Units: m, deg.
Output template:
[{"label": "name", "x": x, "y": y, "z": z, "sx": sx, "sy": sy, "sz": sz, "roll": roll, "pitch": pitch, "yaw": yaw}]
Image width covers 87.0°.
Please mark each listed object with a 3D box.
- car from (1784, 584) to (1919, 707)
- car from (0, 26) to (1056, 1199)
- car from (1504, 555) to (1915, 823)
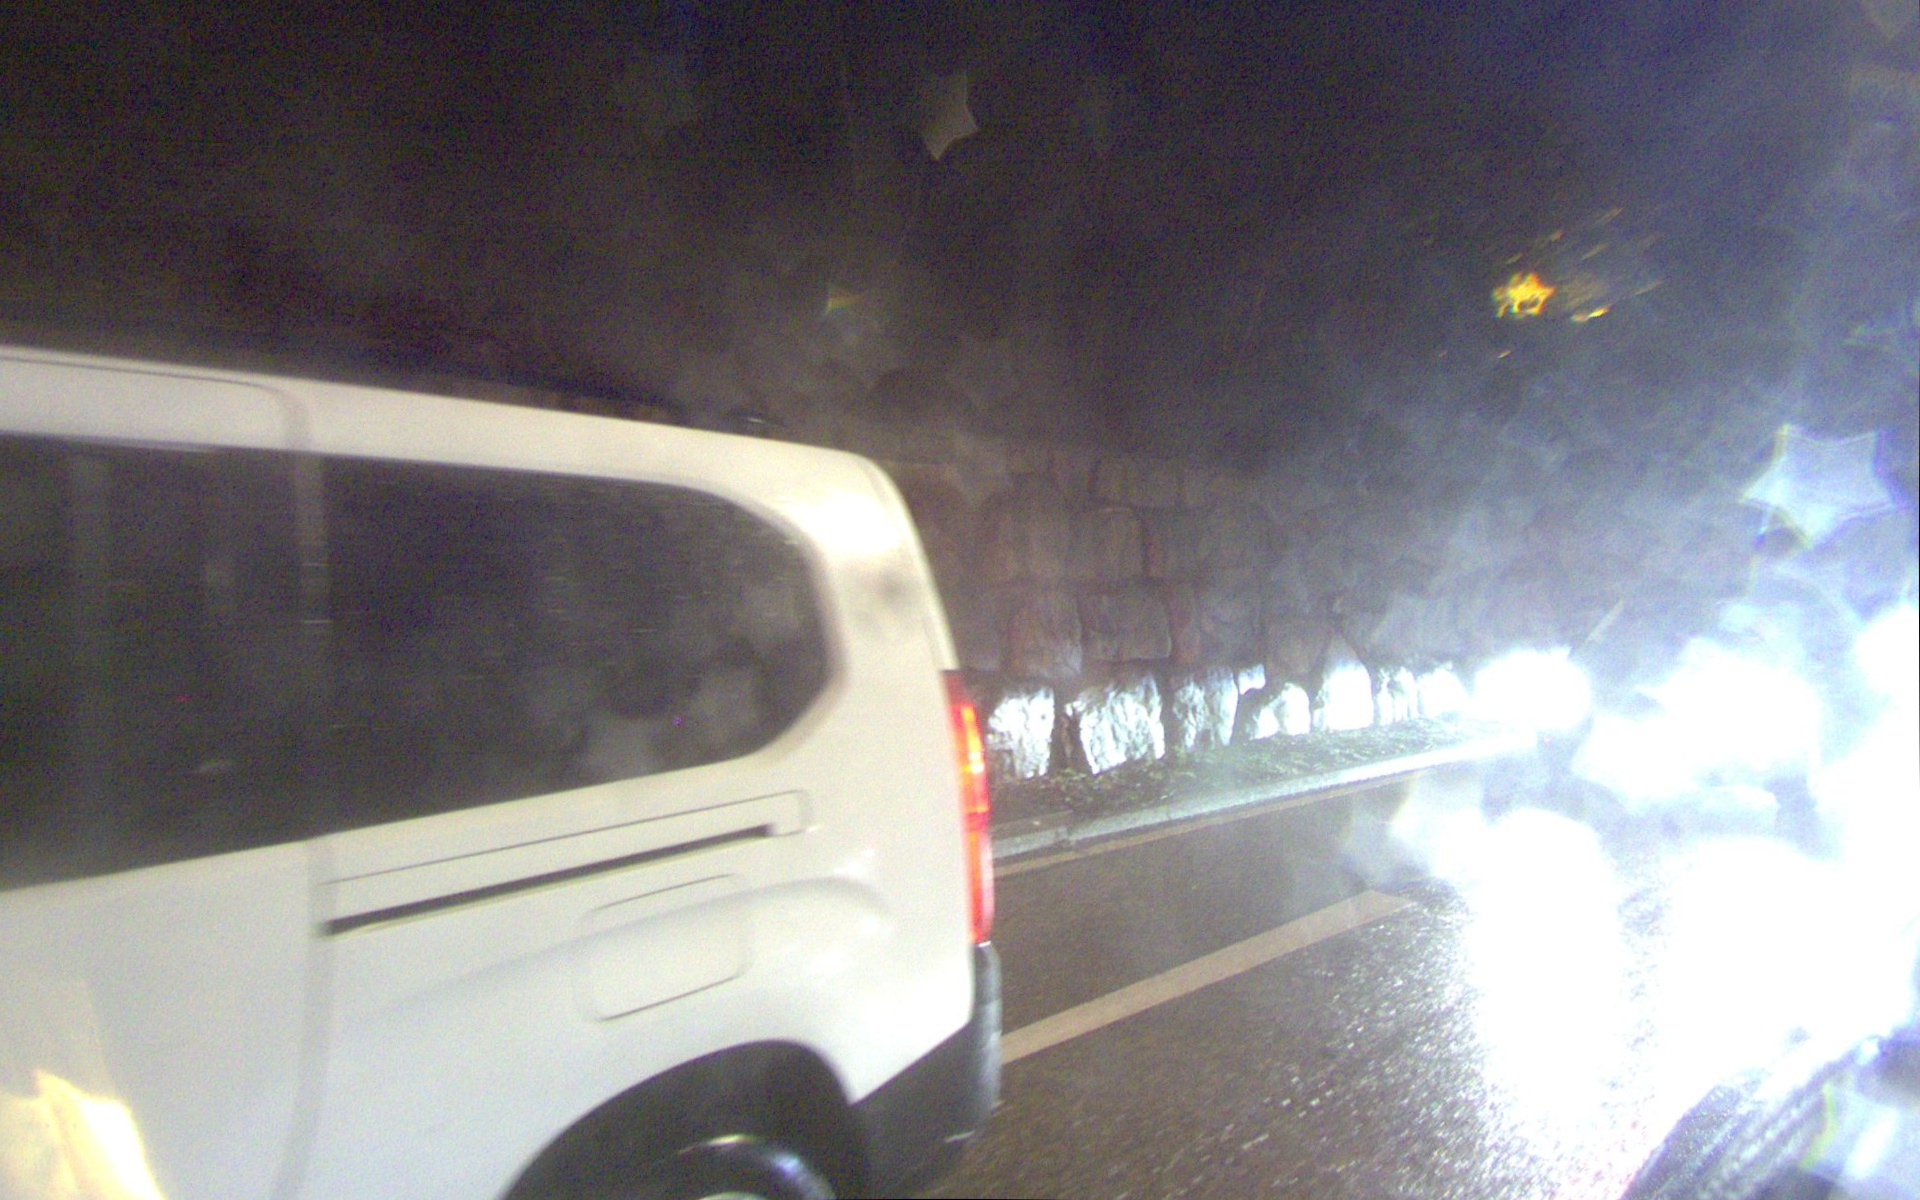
[{"label": "car", "x": 14.265, "y": 0.611, "z": 15.517, "sx": 4.358, "sy": 1.669, "sz": 1.787, "roll": 0, "pitch": 0, "yaw": -41}, {"label": "car", "x": -2.046, "y": 0.447, "z": 1.217, "sx": 4.502, "sy": 2.047, "sz": 1.793, "roll": 0, "pitch": 1, "yaw": -43}, {"label": "car", "x": 6.413, "y": 0.559, "z": 8.498, "sx": 4.142, "sy": 1.715, "sz": 1.790, "roll": 0, "pitch": 0, "yaw": -39}]
